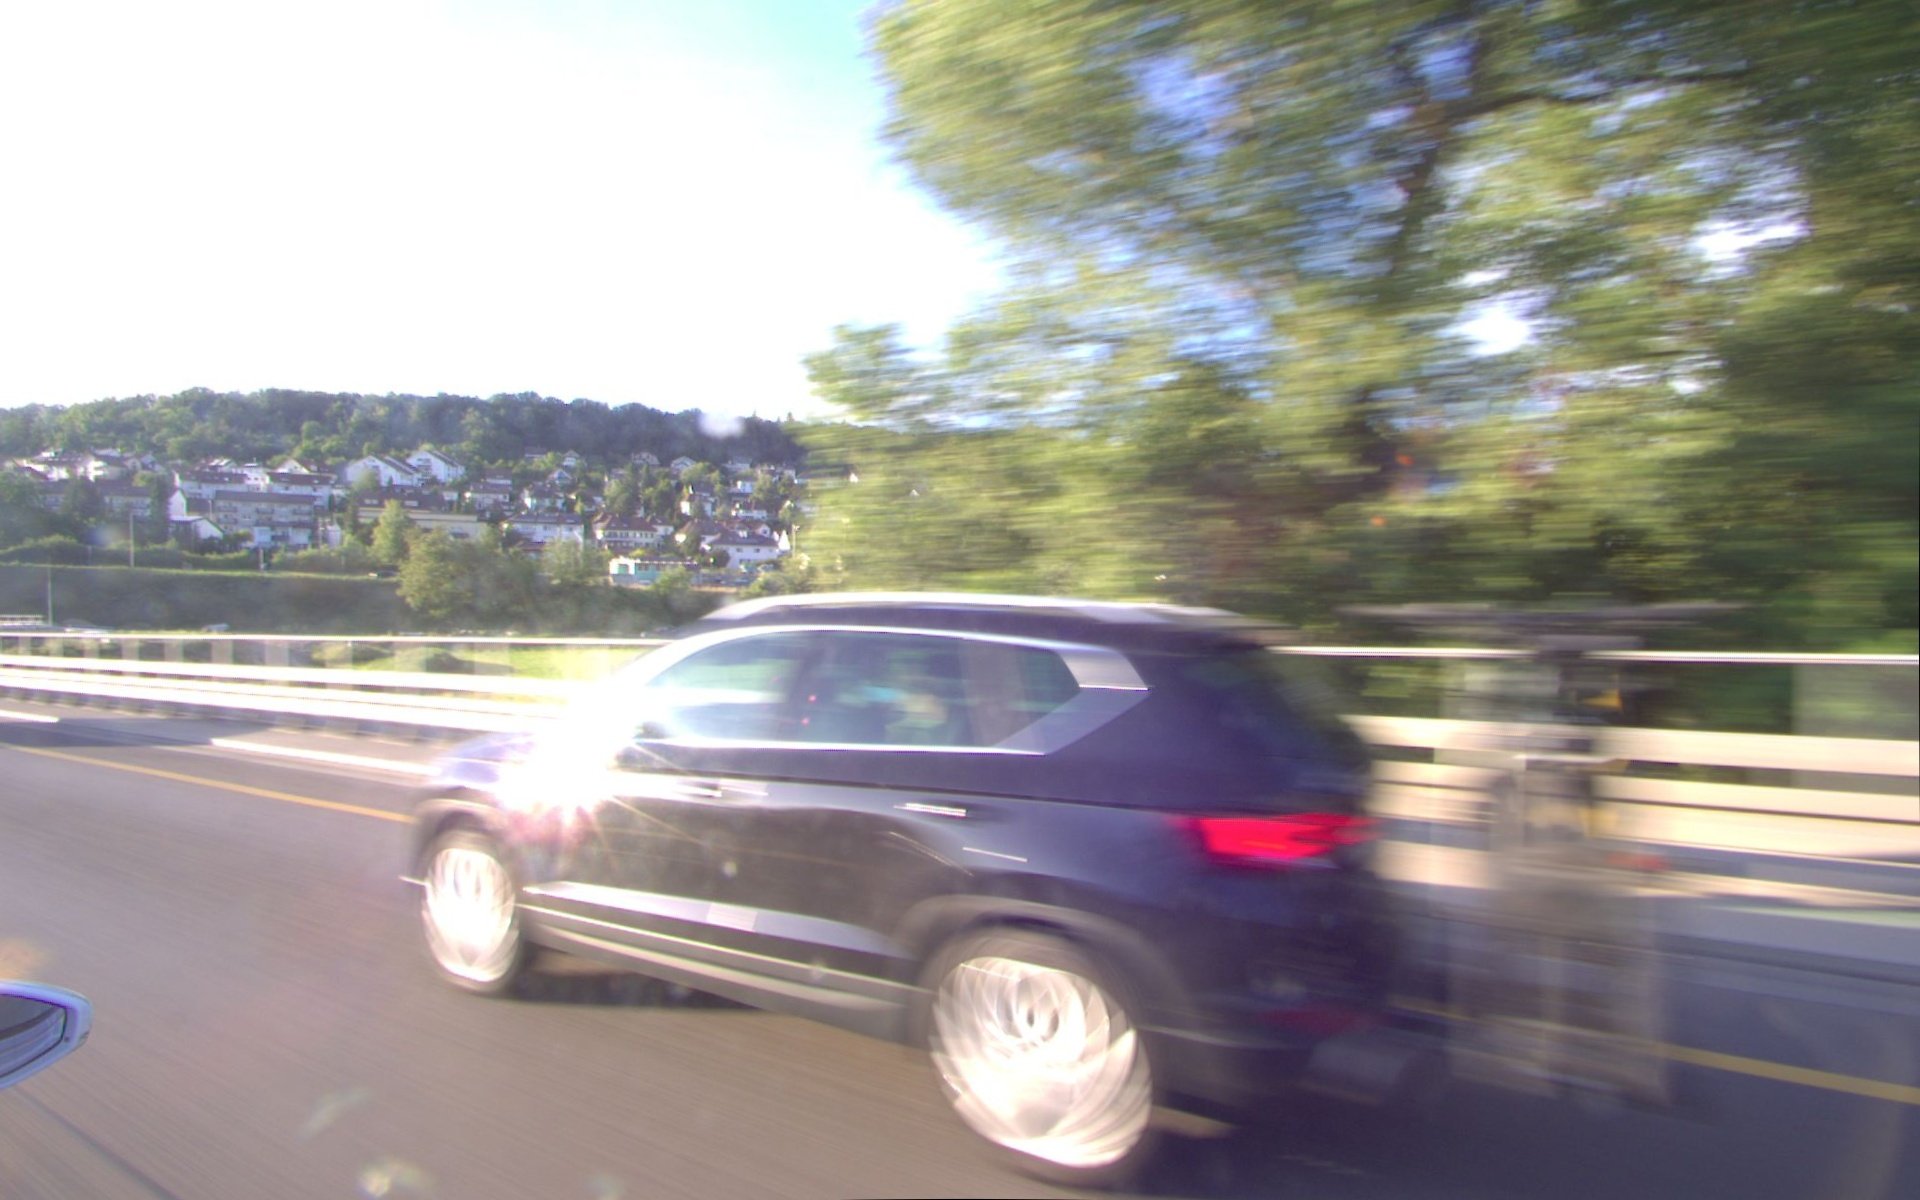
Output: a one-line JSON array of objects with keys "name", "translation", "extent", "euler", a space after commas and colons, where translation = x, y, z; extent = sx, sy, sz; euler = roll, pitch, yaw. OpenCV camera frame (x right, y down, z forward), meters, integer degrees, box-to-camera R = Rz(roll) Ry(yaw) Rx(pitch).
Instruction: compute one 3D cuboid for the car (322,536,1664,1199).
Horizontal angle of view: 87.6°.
[{"name": "car", "translation": [-0.283, 0.735, 3.960], "extent": [4.894, 1.620, 1.872], "euler": [-1, -1, 32]}]
